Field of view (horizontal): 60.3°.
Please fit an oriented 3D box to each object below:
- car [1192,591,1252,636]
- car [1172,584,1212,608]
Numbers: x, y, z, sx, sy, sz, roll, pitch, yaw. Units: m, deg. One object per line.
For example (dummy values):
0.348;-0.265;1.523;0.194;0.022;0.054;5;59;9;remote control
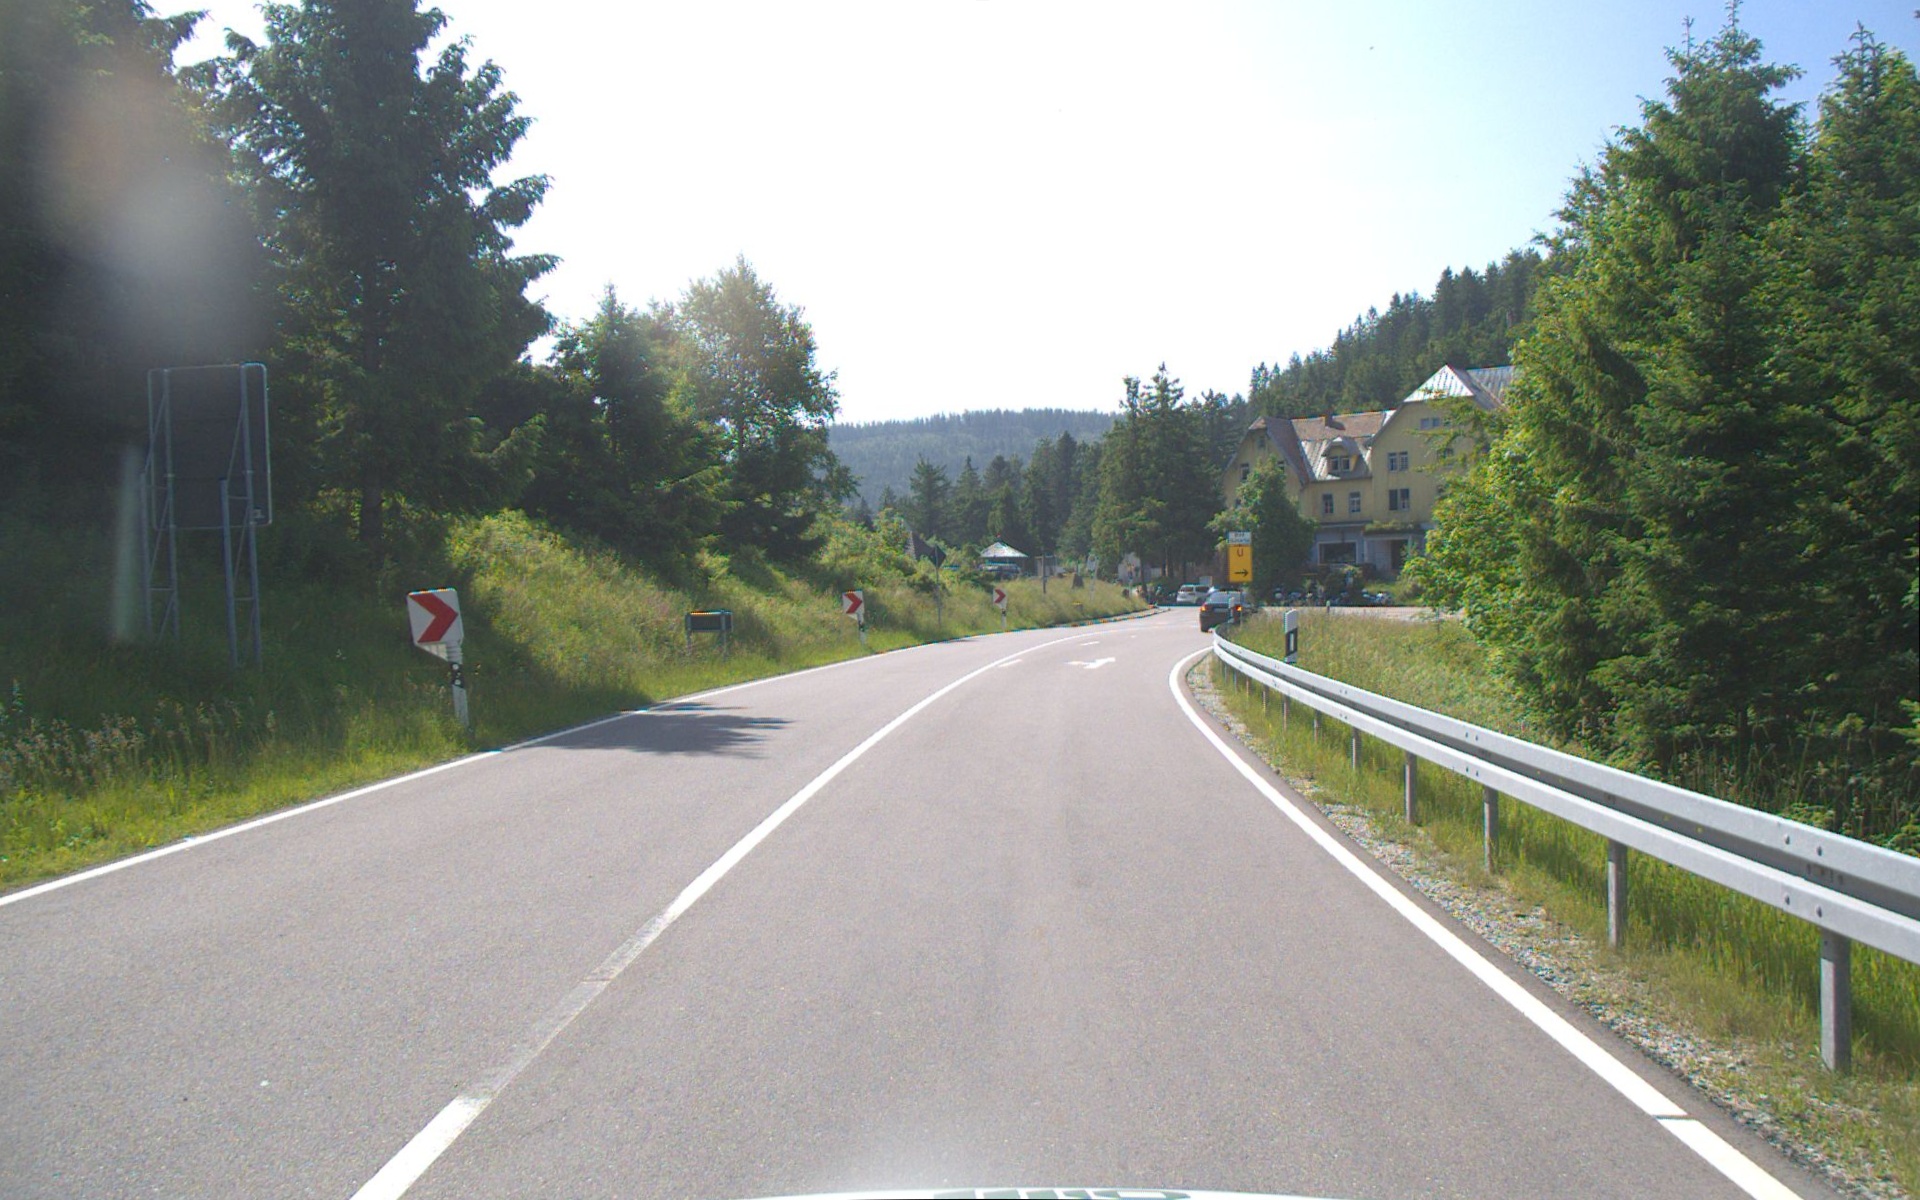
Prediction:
9.360;0.450;58.864;1.738;1.467;3.712;0;1;14;car
17.855;-0.331;127.334;1.817;1.700;4.382;-2;0;25;car
